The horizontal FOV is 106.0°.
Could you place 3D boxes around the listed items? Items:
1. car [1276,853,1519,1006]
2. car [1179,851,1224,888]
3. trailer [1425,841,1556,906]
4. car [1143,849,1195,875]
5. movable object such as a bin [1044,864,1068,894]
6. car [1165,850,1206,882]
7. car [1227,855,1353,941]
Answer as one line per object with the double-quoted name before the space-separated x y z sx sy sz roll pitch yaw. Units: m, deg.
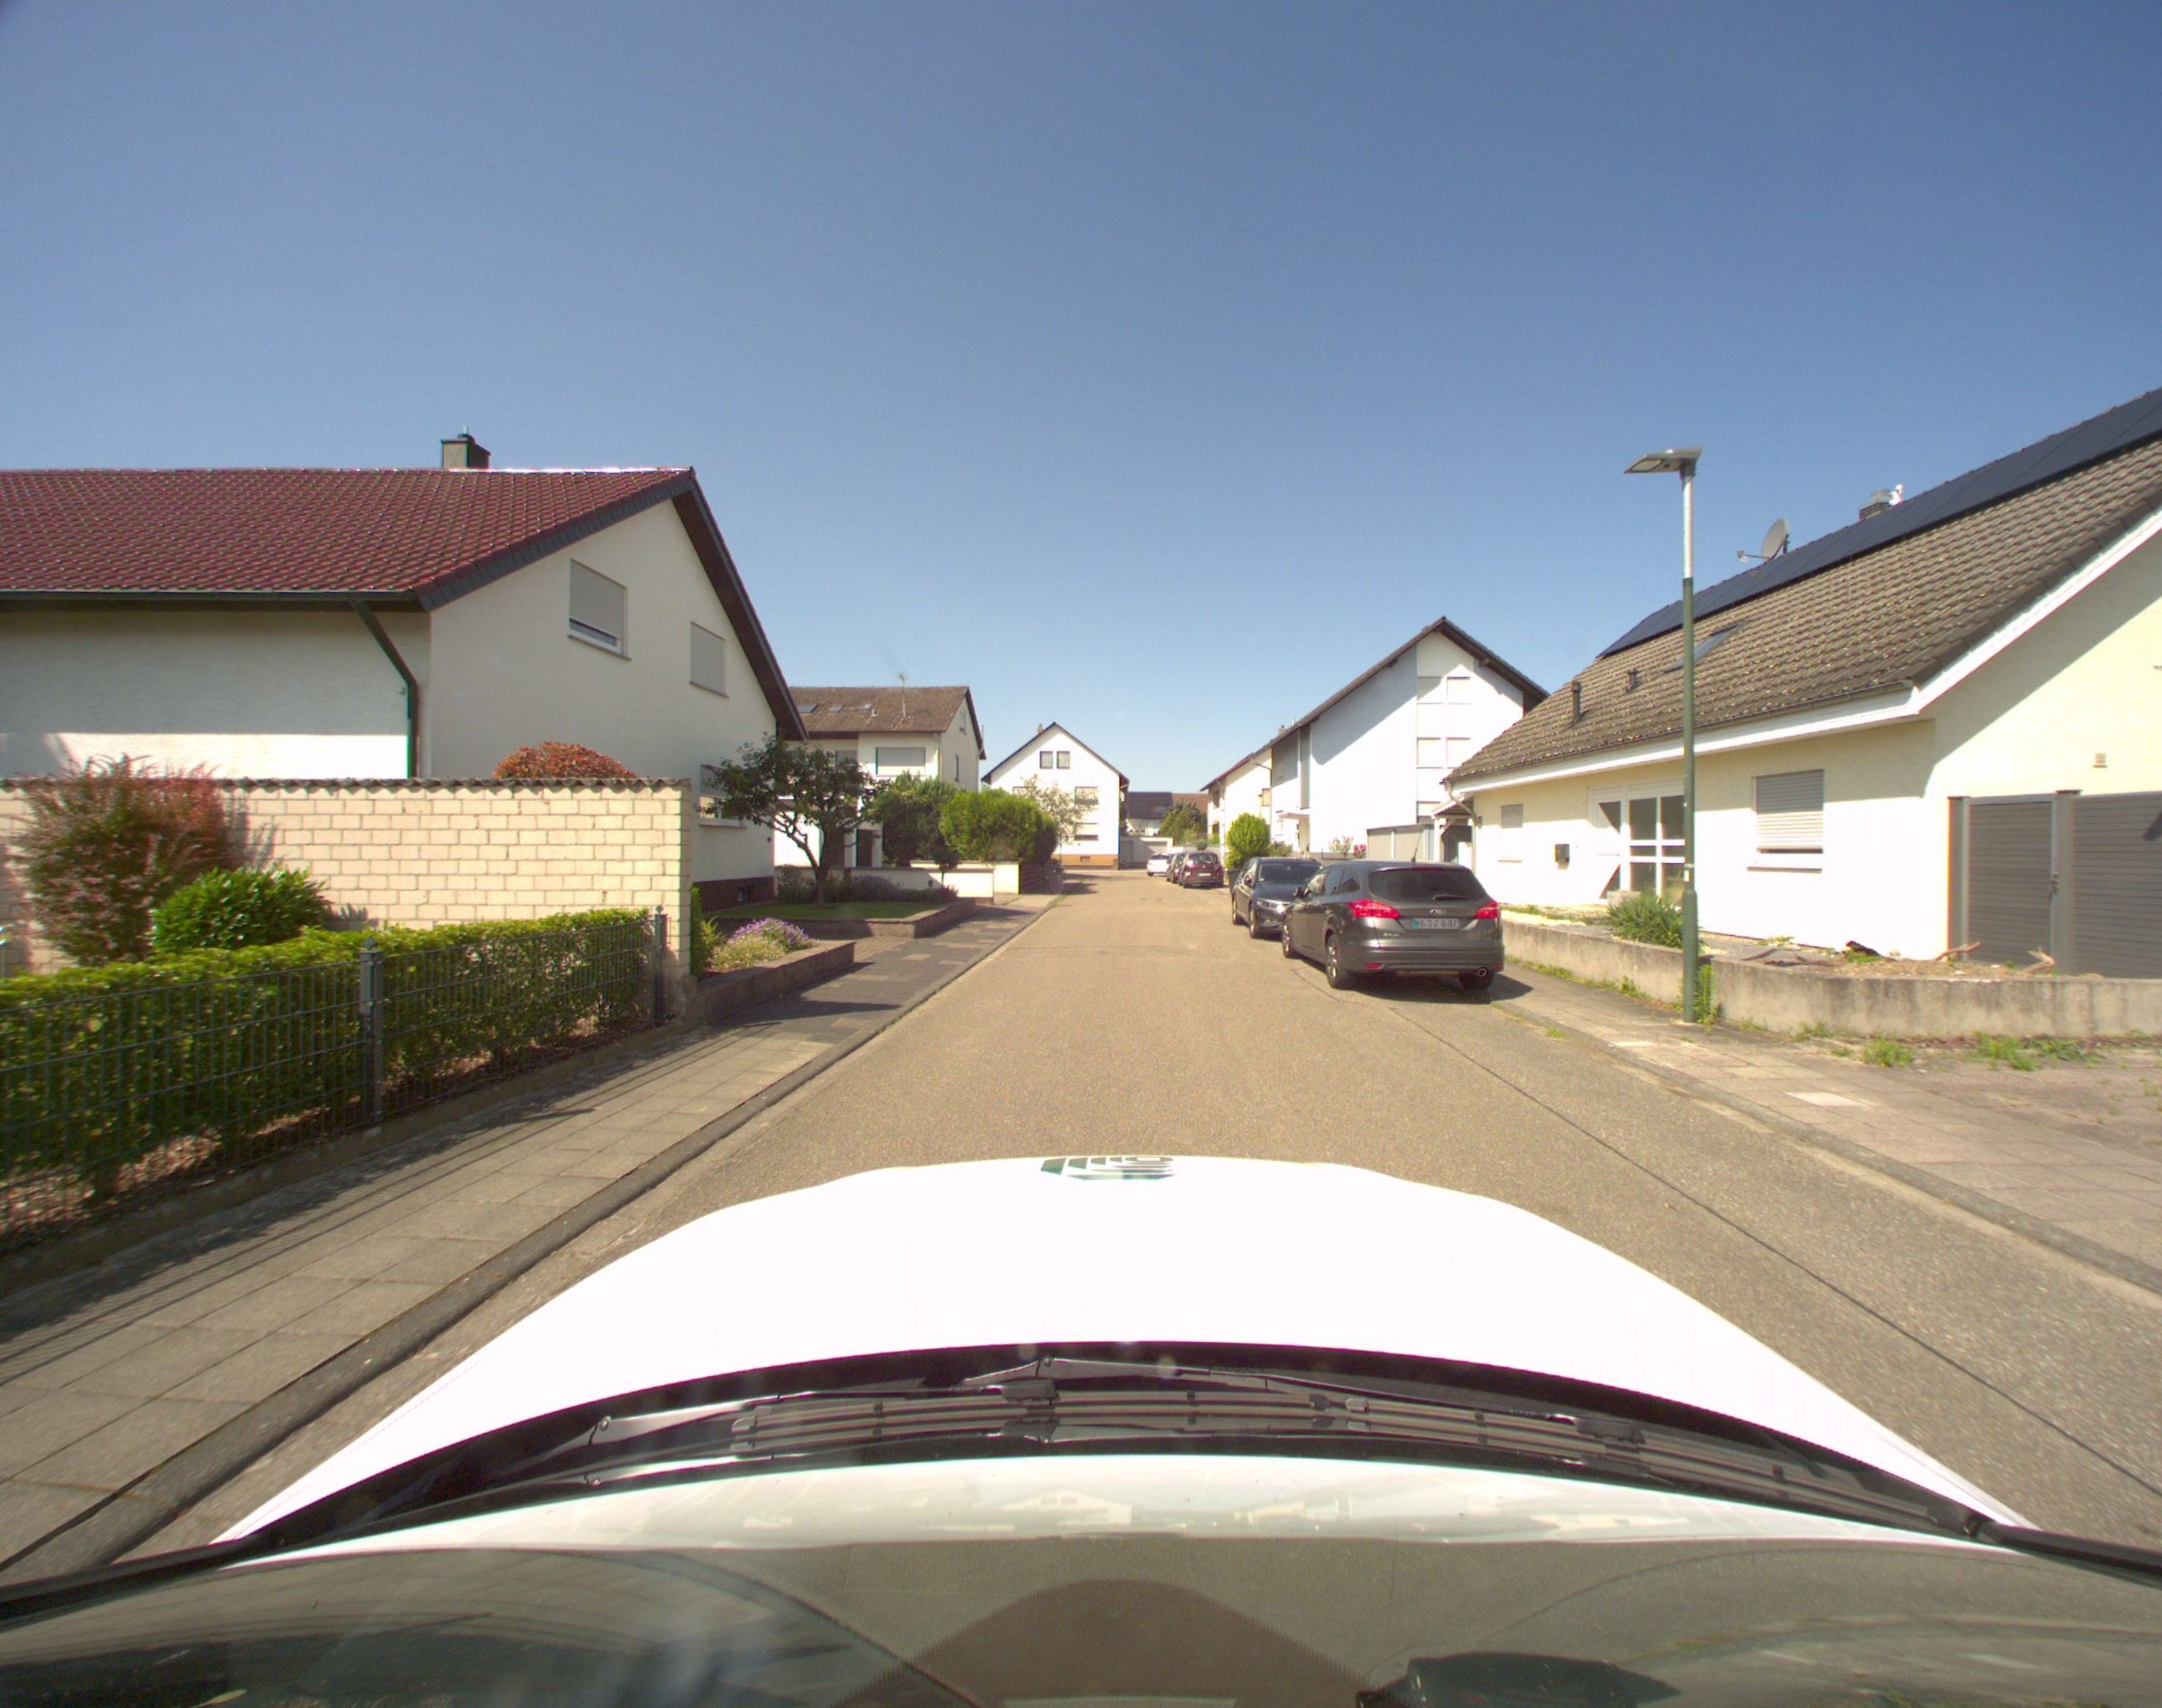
"car" 3.725 0.771 10.353 1.636 1.478 4.003 2 1 2
"car" 5.404 0.639 36.854 1.638 1.581 4.151 0 0 3
"trailer" 10.893 0.501 21.785 2.822 1.690 1.404 0 0 3
"car" 5.614 0.480 51.503 1.629 1.581 3.833 1 0 34
"movable object such as a bin" -0.912 0.900 29.406 0.815 1.063 0.611 0 0 2
"car" 5.330 0.592 41.862 1.639 1.546 4.048 0 0 1
"car" 3.975 0.754 16.179 1.709 1.438 4.508 0 0 5
